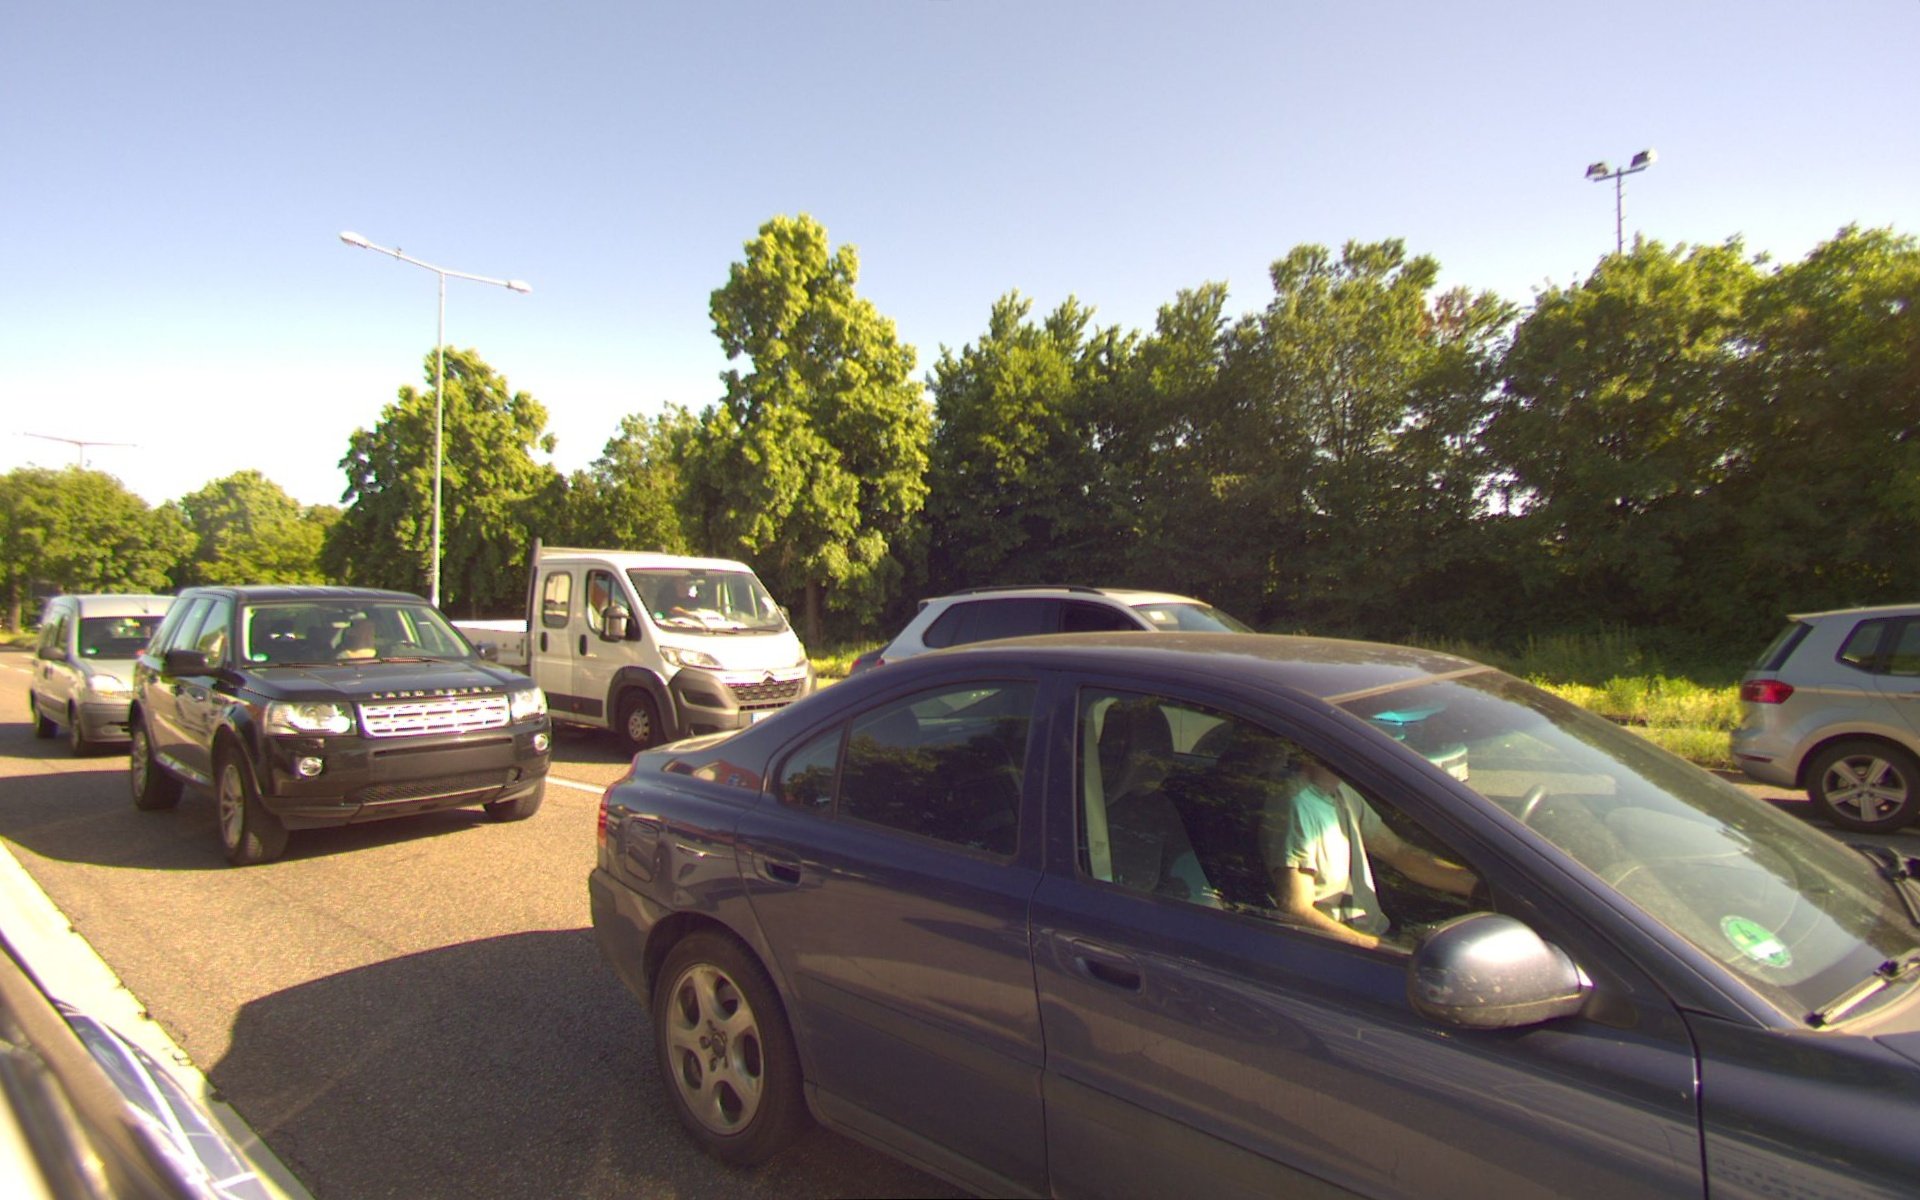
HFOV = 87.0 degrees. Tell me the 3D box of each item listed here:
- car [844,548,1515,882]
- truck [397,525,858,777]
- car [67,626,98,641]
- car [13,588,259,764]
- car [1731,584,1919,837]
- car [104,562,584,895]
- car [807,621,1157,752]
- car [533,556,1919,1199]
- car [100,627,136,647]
[{"bbox_3d":[1.373,0.666,7.439,4.422,1.723,1.973,-2,-3,41],"label":"car"},{"bbox_3d":[-4.404,0.511,12.451,6.838,2.337,2.158,-1,-1,40],"label":"truck"},{"bbox_3d":[-87.370,3.331,100.803,3.998,1.428,1.769,-2,-3,41],"label":"car"},{"bbox_3d":[-10.060,0.789,12.231,4.384,1.765,1.611,-1,-1,41],"label":"car"},{"bbox_3d":[7.624,0.710,6.424,4.206,1.623,1.811,-2,-3,42],"label":"car"},{"bbox_3d":[-4.702,0.695,7.430,4.384,1.744,1.793,-1,-1,41],"label":"car"},{"bbox_3d":[0.162,1.011,13.124,4.382,1.401,1.793,-1,-3,40],"label":"car"},{"bbox_3d":[0.885,0.685,2.435,4.454,1.463,1.757,-1,0,41],"label":"car"},{"bbox_3d":[-73.507,3.191,88.361,3.998,1.697,1.769,-2,-3,41],"label":"car"}]
